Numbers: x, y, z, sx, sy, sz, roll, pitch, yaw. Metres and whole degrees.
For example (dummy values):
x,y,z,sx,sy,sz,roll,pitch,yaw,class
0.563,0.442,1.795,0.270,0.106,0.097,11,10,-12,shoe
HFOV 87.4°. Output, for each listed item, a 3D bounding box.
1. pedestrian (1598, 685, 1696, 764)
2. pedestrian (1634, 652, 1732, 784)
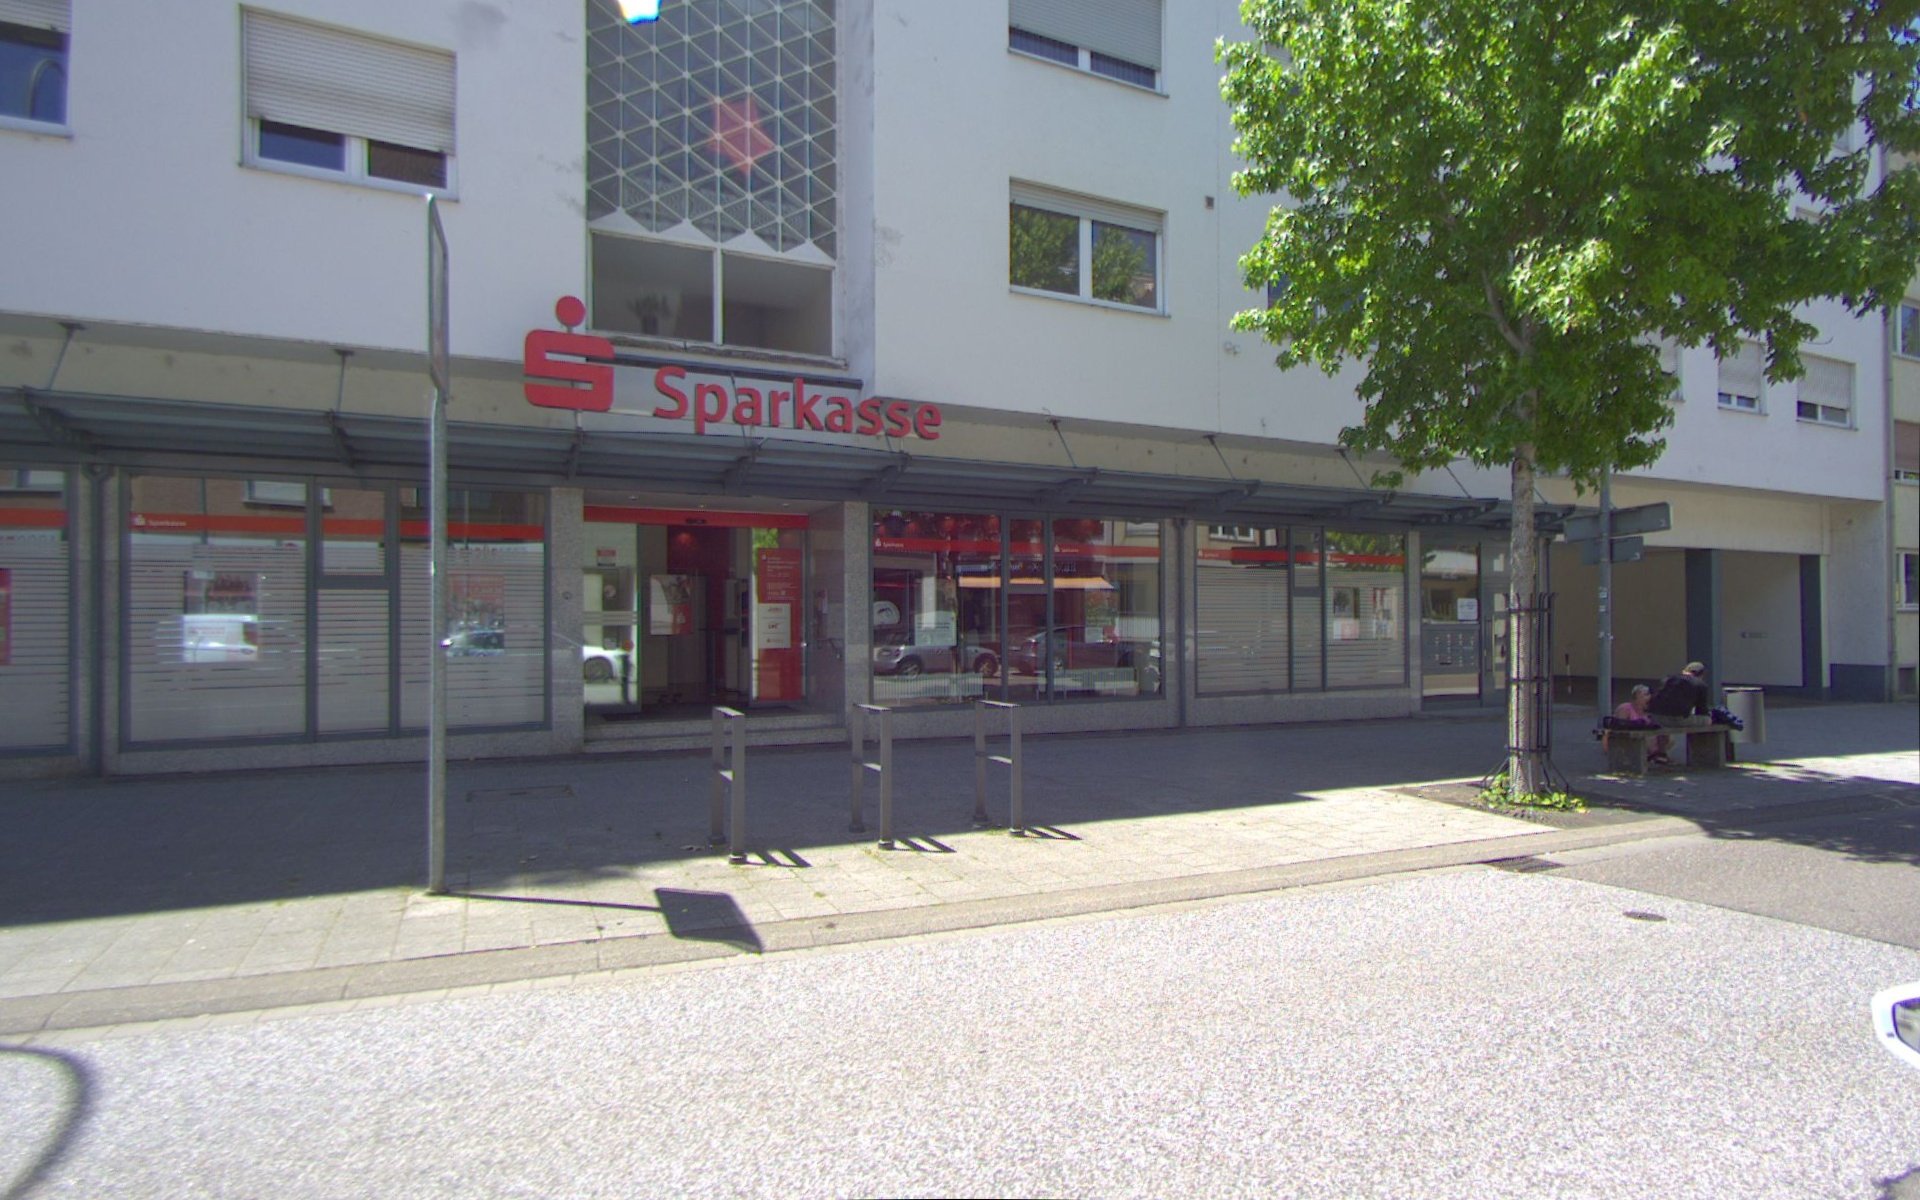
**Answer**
x,y,z,sx,sy,sz,roll,pitch,yaw,class
8.288,1.497,12.125,0.721,0.869,0.665,4,-3,-16,pedestrian
7.939,1.273,11.046,0.656,1.390,0.567,1,-2,-16,pedestrian
